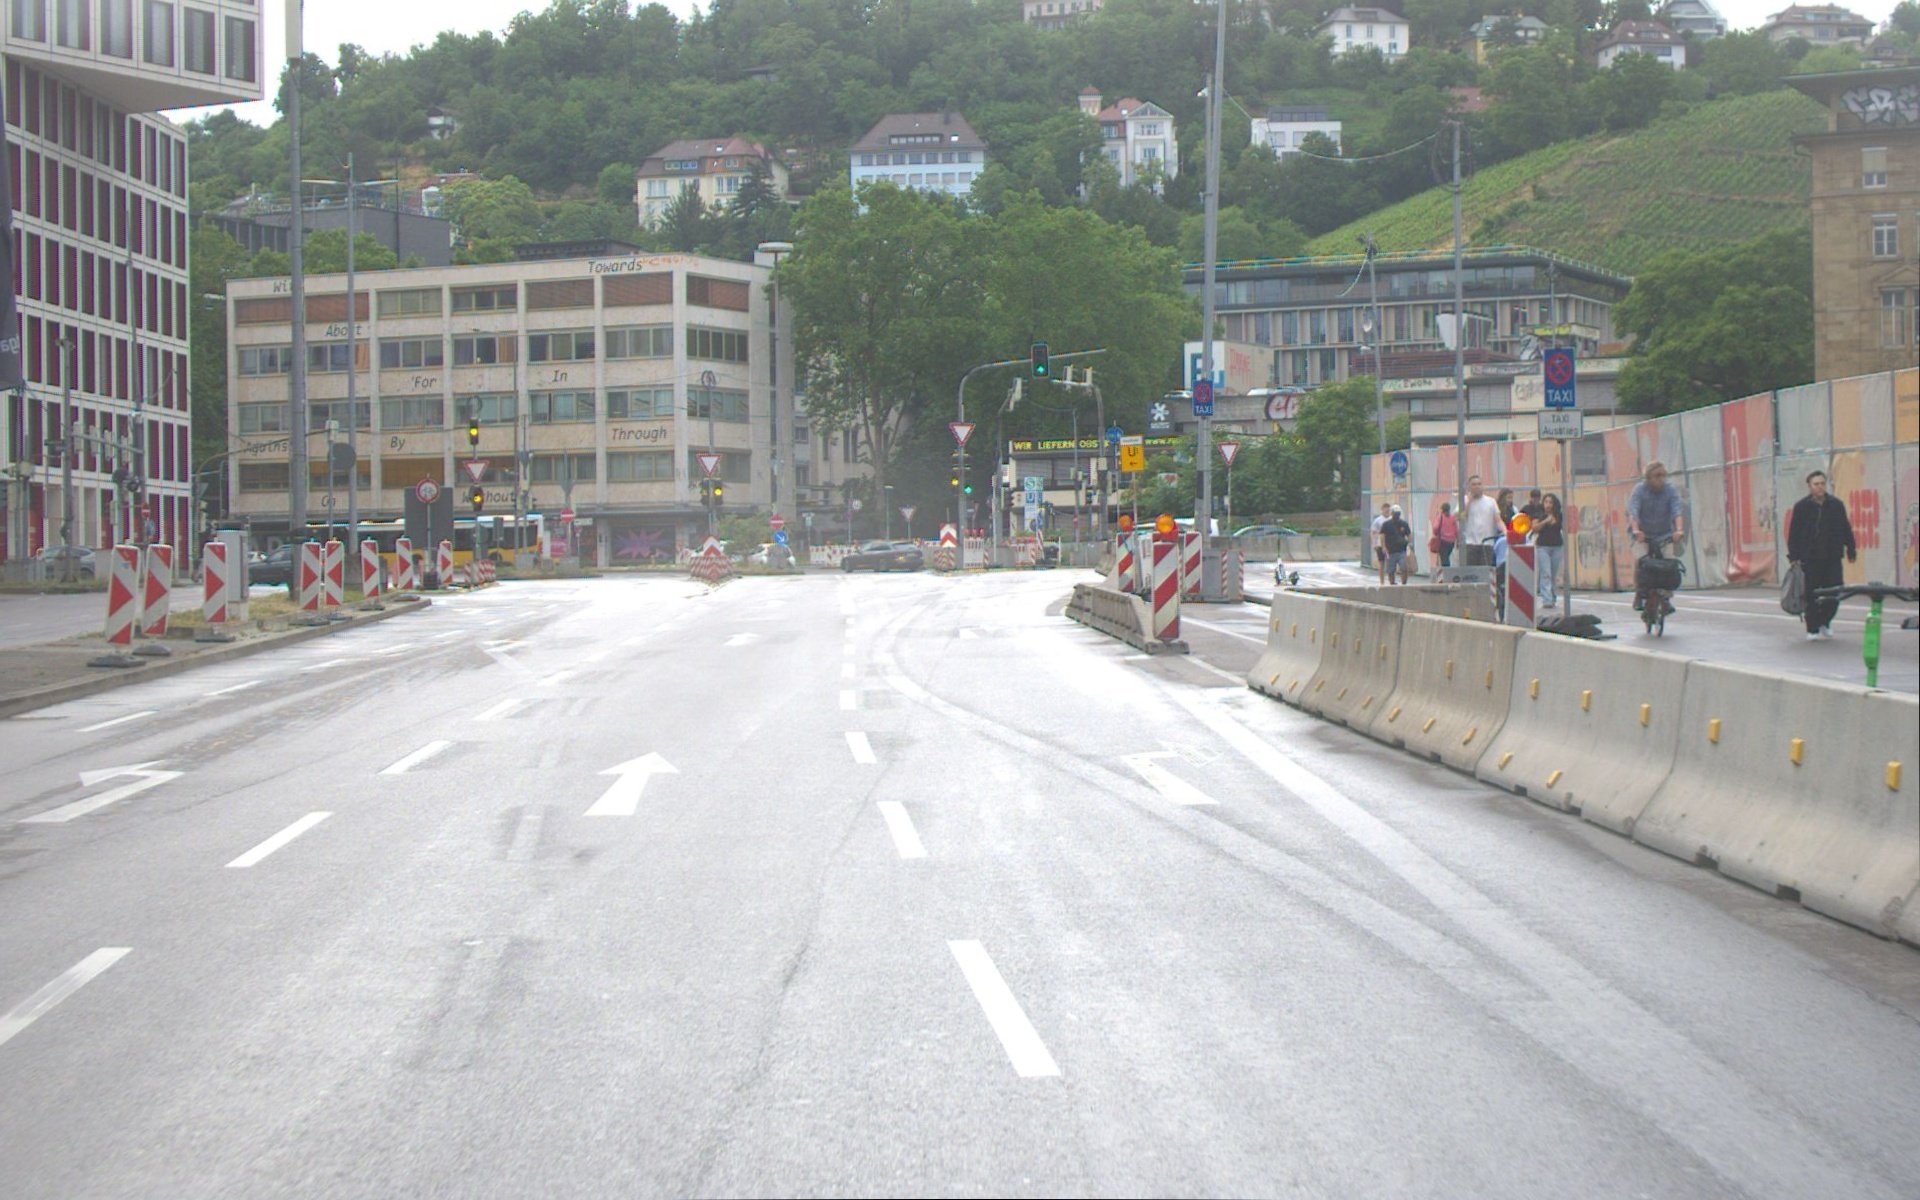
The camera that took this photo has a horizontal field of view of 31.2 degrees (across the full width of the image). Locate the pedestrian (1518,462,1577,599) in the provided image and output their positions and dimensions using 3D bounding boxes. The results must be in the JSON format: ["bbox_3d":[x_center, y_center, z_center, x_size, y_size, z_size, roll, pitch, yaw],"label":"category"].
[{"bbox_3d":[8.169,-0.970,47.824,0.683,1.882,0.693,-1,1,1],"label":"pedestrian"}]

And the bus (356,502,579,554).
[{"bbox_3d":[-27.908,-4.045,194.105,13.958,2.741,3.205,0,2,35],"label":"bus"}]

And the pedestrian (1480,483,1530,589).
[{"bbox_3d":[9.662,-1.138,60.989,0.703,1.859,0.990,-1,1,0],"label":"pedestrian"}]

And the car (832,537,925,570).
[{"bbox_3d":[-3.766,-2.137,159.129,4.072,1.486,1.732,0,2,35],"label":"car"}]

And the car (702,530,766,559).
[{"bbox_3d":[-11.880,-2.923,180.450,1.730,1.486,4.078,-2,2,-29],"label":"car"}]

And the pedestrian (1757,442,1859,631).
[{"bbox_3d":[8.603,-0.644,34.885,0.848,1.888,0.662,-1,1,0],"label":"pedestrian"}]

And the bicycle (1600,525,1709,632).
[{"bbox_3d":[7.457,-0.246,36.988,0.766,1.108,1.981,-1,1,0],"label":"bicycle"}]

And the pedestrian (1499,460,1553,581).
[{"bbox_3d":[8.888,-1.249,54.039,0.683,1.882,0.693,-1,1,-3],"label":"pedestrian"}]

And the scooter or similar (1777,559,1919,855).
[{"bbox_3d":[4.308,0.478,16.132,0.524,1.329,1.025,-1,1,-12],"label":"scooter or similar"}]

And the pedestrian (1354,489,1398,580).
[{"bbox_3d":[8.004,-1.272,66.232,0.683,1.734,0.907,-1,1,-3],"label":"pedestrian"}]

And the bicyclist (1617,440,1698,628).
[{"bbox_3d":[7.534,-0.715,37.148,0.726,2.007,0.599,-1,1,0],"label":"bicyclist"}]

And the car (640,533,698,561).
[{"bbox_3d":[-15.945,-2.886,188.355,1.730,1.486,4.078,-2,1,-27],"label":"car"}]

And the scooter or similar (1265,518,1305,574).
[{"bbox_3d":[6.903,-1.147,73.145,0.467,1.179,1.415,-1,1,-10],"label":"scooter or similar"}]

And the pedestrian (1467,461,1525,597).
[{"bbox_3d":[7.456,-0.990,47.872,0.683,1.882,0.693,-1,1,1],"label":"pedestrian"}]

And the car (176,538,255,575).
[{"bbox_3d":[-37.984,-2.222,175.460,3.996,1.809,1.802,0,2,39],"label":"car"}]

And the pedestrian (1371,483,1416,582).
[{"bbox_3d":[7.655,-1.199,60.725,0.642,1.734,0.838,-1,1,-2],"label":"pedestrian"}]

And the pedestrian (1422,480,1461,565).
[{"bbox_3d":[10.716,-1.730,76.517,0.719,1.859,0.709,-1,1,-2],"label":"pedestrian"}]

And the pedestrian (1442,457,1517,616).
[{"bbox_3d":[6.668,-0.817,44.190,0.803,2.009,0.972,-1,1,1],"label":"pedestrian"}]

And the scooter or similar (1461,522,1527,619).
[{"bbox_3d":[6.705,-0.376,43.176,0.664,1.194,1.044,-1,1,0],"label":"scooter or similar"}]
